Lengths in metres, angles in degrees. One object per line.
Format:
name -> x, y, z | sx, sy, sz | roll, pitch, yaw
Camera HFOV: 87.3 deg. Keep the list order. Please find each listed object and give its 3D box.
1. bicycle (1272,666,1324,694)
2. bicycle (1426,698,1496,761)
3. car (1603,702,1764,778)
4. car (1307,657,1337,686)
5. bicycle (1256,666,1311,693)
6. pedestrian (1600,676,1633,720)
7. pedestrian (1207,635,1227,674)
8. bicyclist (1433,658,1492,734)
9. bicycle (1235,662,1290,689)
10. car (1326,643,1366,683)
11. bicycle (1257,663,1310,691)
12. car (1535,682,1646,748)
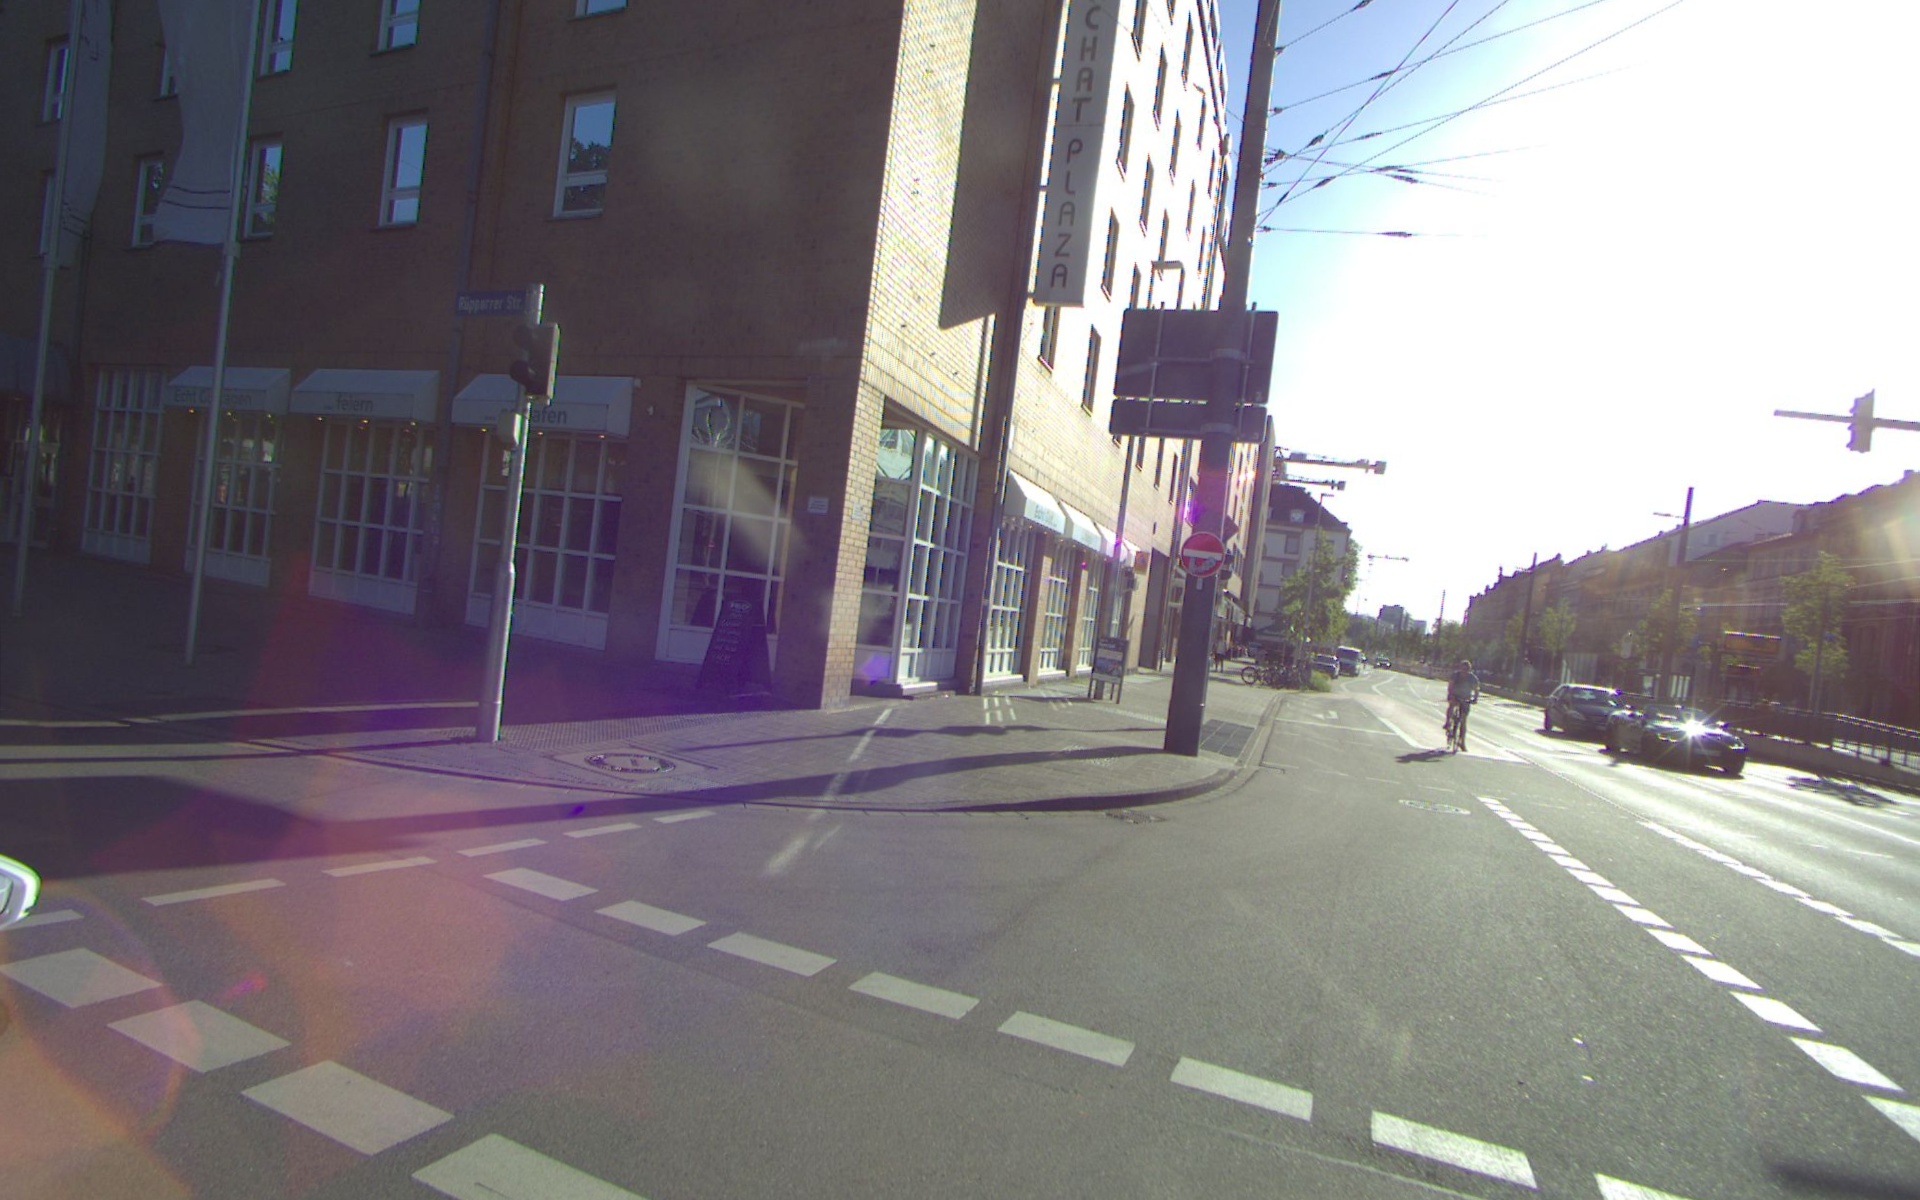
bicycle -> 14.772, 3.492, 43.973 | 2.006, 0.932, 0.482 | 6, 0, 30
bicycle -> 10.088, 2.580, 20.358 | 0.797, 1.003, 2.509 | 6, -1, 18
car -> 17.205, 3.275, 24.186 | 1.810, 1.283, 4.232 | 5, -2, 18
car -> 25.636, 5.034, 71.320 | 1.811, 1.858, 4.109 | 5, -1, 19
bicycle -> 13.366, 3.274, 41.600 | 2.006, 0.855, 0.482 | 6, 0, 30
pedestrian -> 31.098, 4.645, 47.640 | 0.847, 1.910, 0.737 | 7, 2, 9
pedestrian -> 12.168, 2.581, 47.621 | 0.706, 1.786, 0.565 | 6, 0, 22
bicyclist -> 10.164, 1.919, 20.373 | 0.797, 1.394, 0.926 | 6, 0, 18
bicycle -> 12.224, 3.049, 40.634 | 2.006, 0.855, 0.482 | 6, 0, 30
car -> 33.599, 5.380, 87.790 | 2.340, 3.036, 8.471 | 7, 0, 17
bicycle -> 13.818, 3.280, 42.999 | 2.006, 0.932, 0.482 | 6, 0, 30
car -> 19.644, 3.519, 31.529 | 1.810, 1.631, 4.232 | 5, -1, 18
